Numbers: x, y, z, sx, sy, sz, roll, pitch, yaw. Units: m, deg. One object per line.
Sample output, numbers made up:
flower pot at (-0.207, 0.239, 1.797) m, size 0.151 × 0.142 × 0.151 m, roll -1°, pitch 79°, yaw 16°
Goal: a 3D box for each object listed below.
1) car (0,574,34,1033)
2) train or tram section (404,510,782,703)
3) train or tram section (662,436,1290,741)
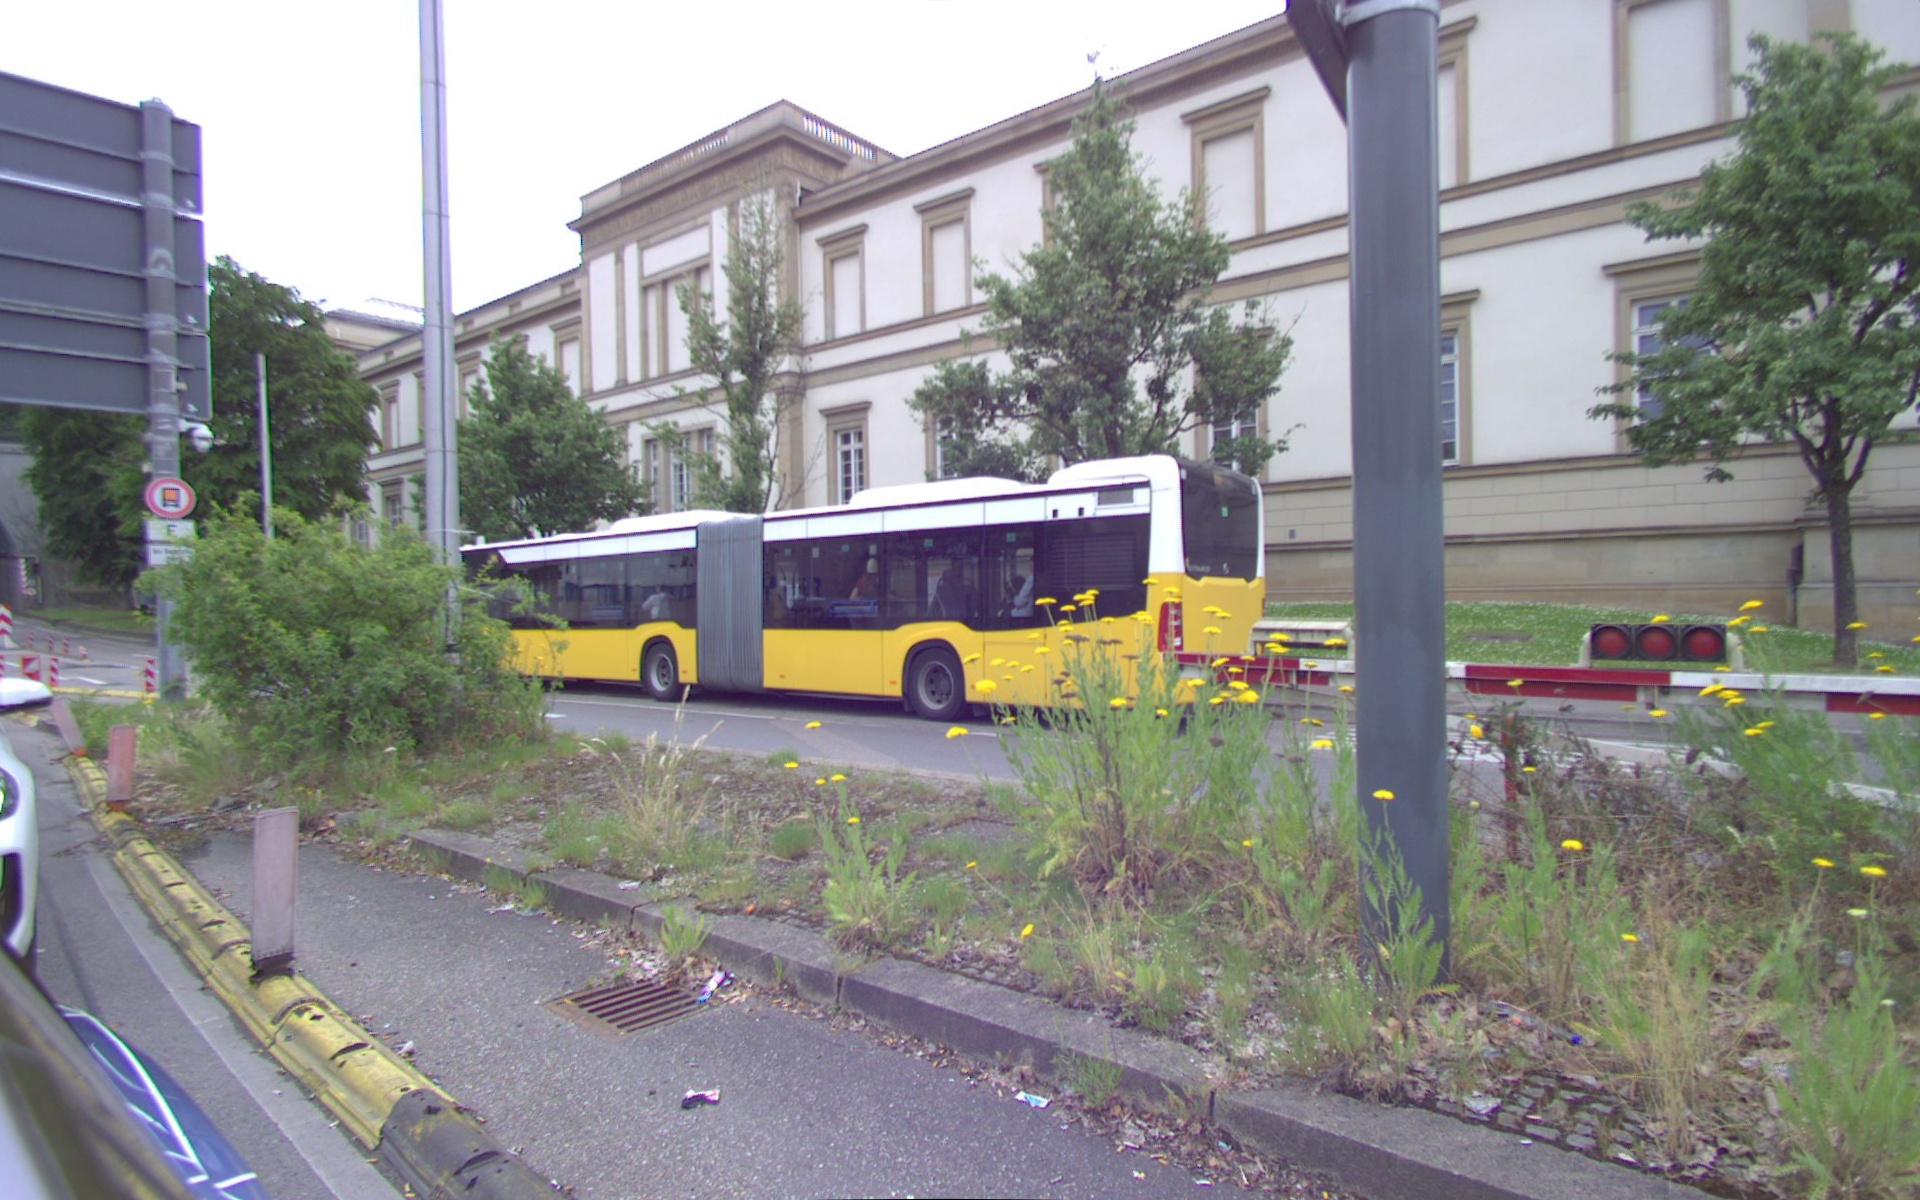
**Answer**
car at (-5.237, 0.719, 4.214) m, size 3.911 × 1.568 × 1.733 m, roll -1°, pitch 0°, yaw 43°
train or tram section at (-7.679, 0.211, 20.208) m, size 9.366 × 3.094 × 2.667 m, roll -2°, pitch -2°, yaw 39°
train or tram section at (-0.410, -0.010, 14.304) m, size 9.330 × 3.094 × 2.666 m, roll -2°, pitch -2°, yaw 41°
